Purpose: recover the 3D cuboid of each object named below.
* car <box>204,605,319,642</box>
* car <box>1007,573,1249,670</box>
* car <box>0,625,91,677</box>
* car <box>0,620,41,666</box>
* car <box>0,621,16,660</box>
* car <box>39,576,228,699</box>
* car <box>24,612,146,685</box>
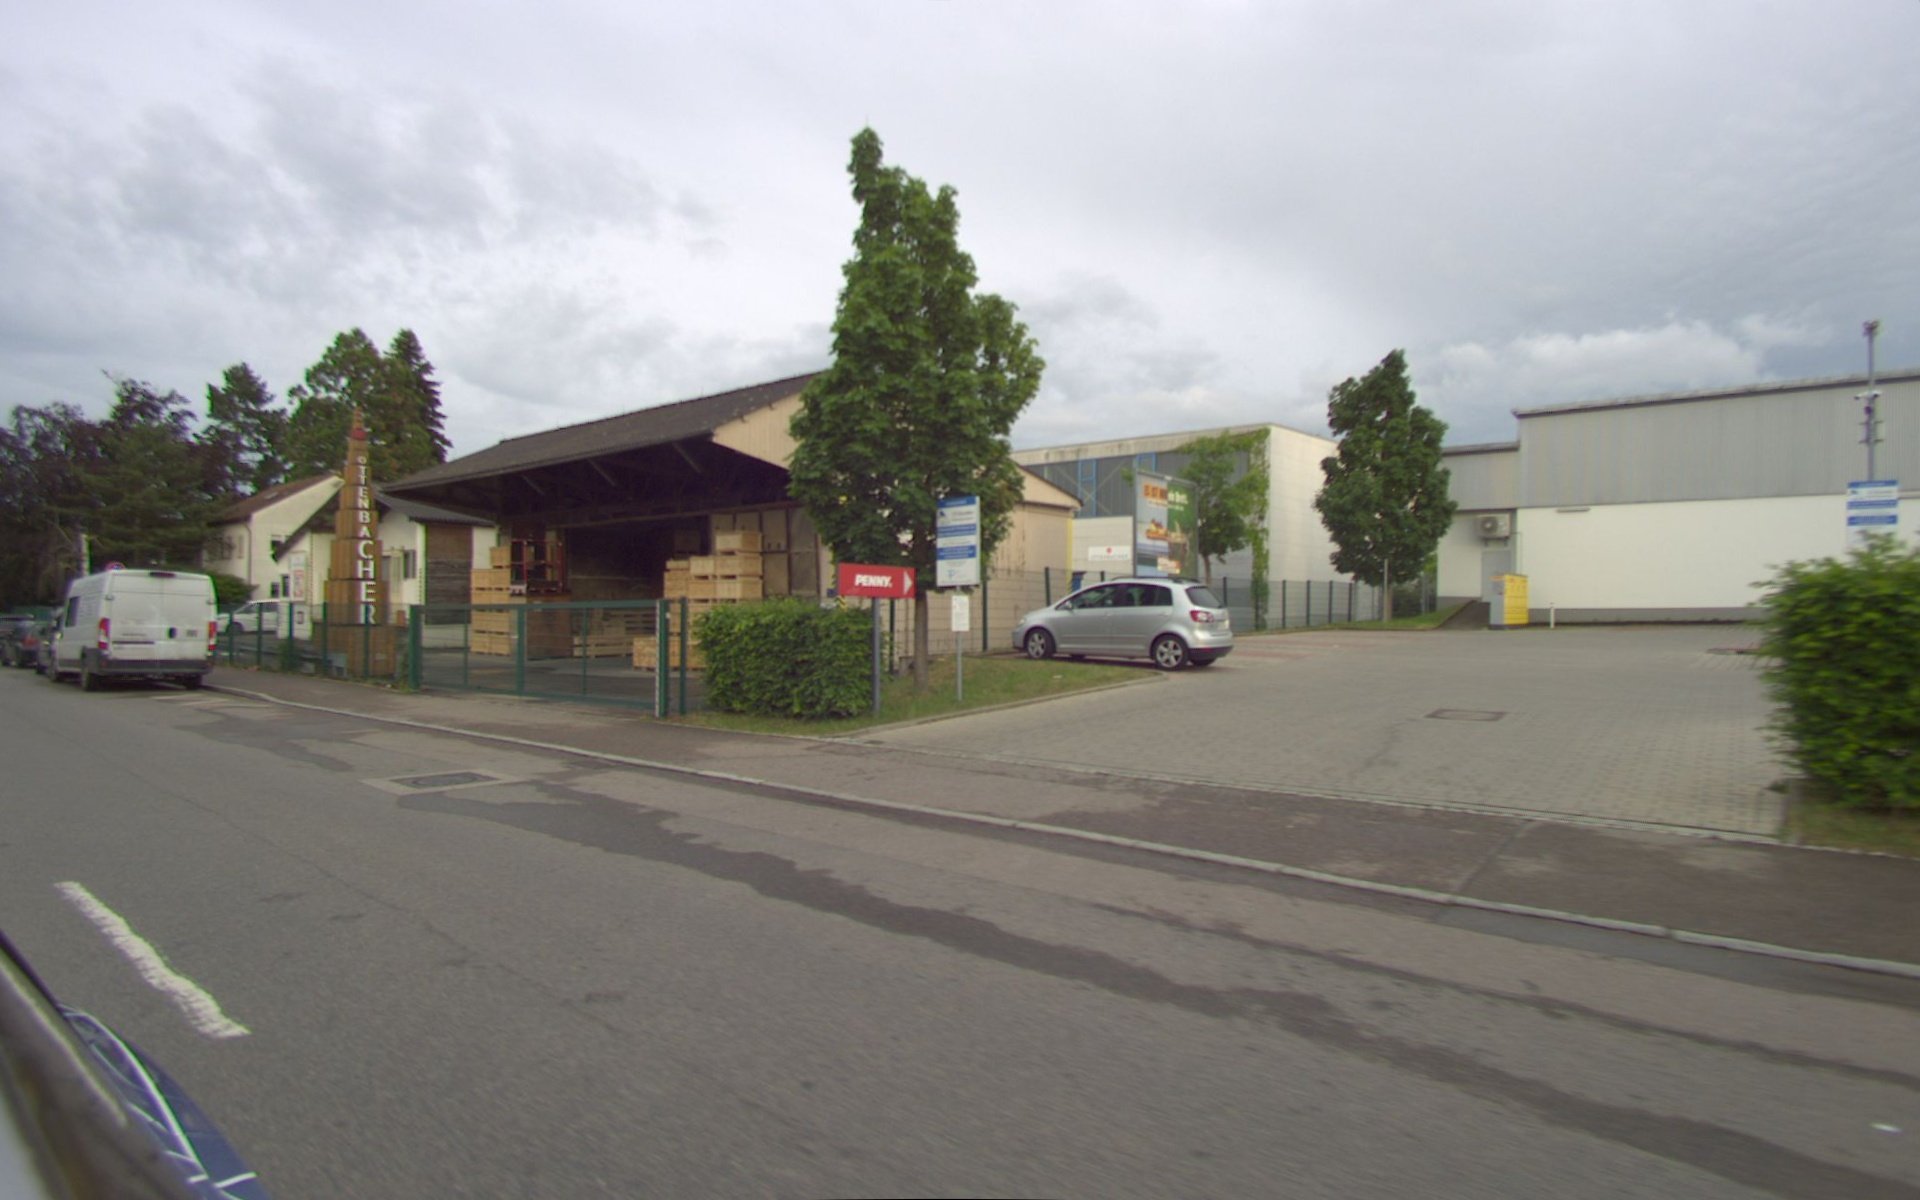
[{"bbox_3d":[-38.765,1.255,56.278,2.000,1.871,4.945,-1,1,42],"label":"car"},{"bbox_3d":[3.010,0.371,18.448,4.034,1.599,1.632,-1,0,34],"label":"car"},{"bbox_3d":[-28.172,1.511,30.959,4.313,1.459,1.645,-1,-2,39],"label":"car"},{"bbox_3d":[-35.089,1.525,36.983,3.913,1.596,1.644,-1,-3,40],"label":"car"},{"bbox_3d":[-38.934,1.588,40.259,3.658,1.520,1.599,-1,-2,41],"label":"car"},{"bbox_3d":[-18.946,0.848,23.054,6.455,2.445,2.136,-1,-4,41],"label":"car"},{"bbox_3d":[-23.244,1.252,26.823,4.444,1.782,1.751,0,-4,41],"label":"car"}]
